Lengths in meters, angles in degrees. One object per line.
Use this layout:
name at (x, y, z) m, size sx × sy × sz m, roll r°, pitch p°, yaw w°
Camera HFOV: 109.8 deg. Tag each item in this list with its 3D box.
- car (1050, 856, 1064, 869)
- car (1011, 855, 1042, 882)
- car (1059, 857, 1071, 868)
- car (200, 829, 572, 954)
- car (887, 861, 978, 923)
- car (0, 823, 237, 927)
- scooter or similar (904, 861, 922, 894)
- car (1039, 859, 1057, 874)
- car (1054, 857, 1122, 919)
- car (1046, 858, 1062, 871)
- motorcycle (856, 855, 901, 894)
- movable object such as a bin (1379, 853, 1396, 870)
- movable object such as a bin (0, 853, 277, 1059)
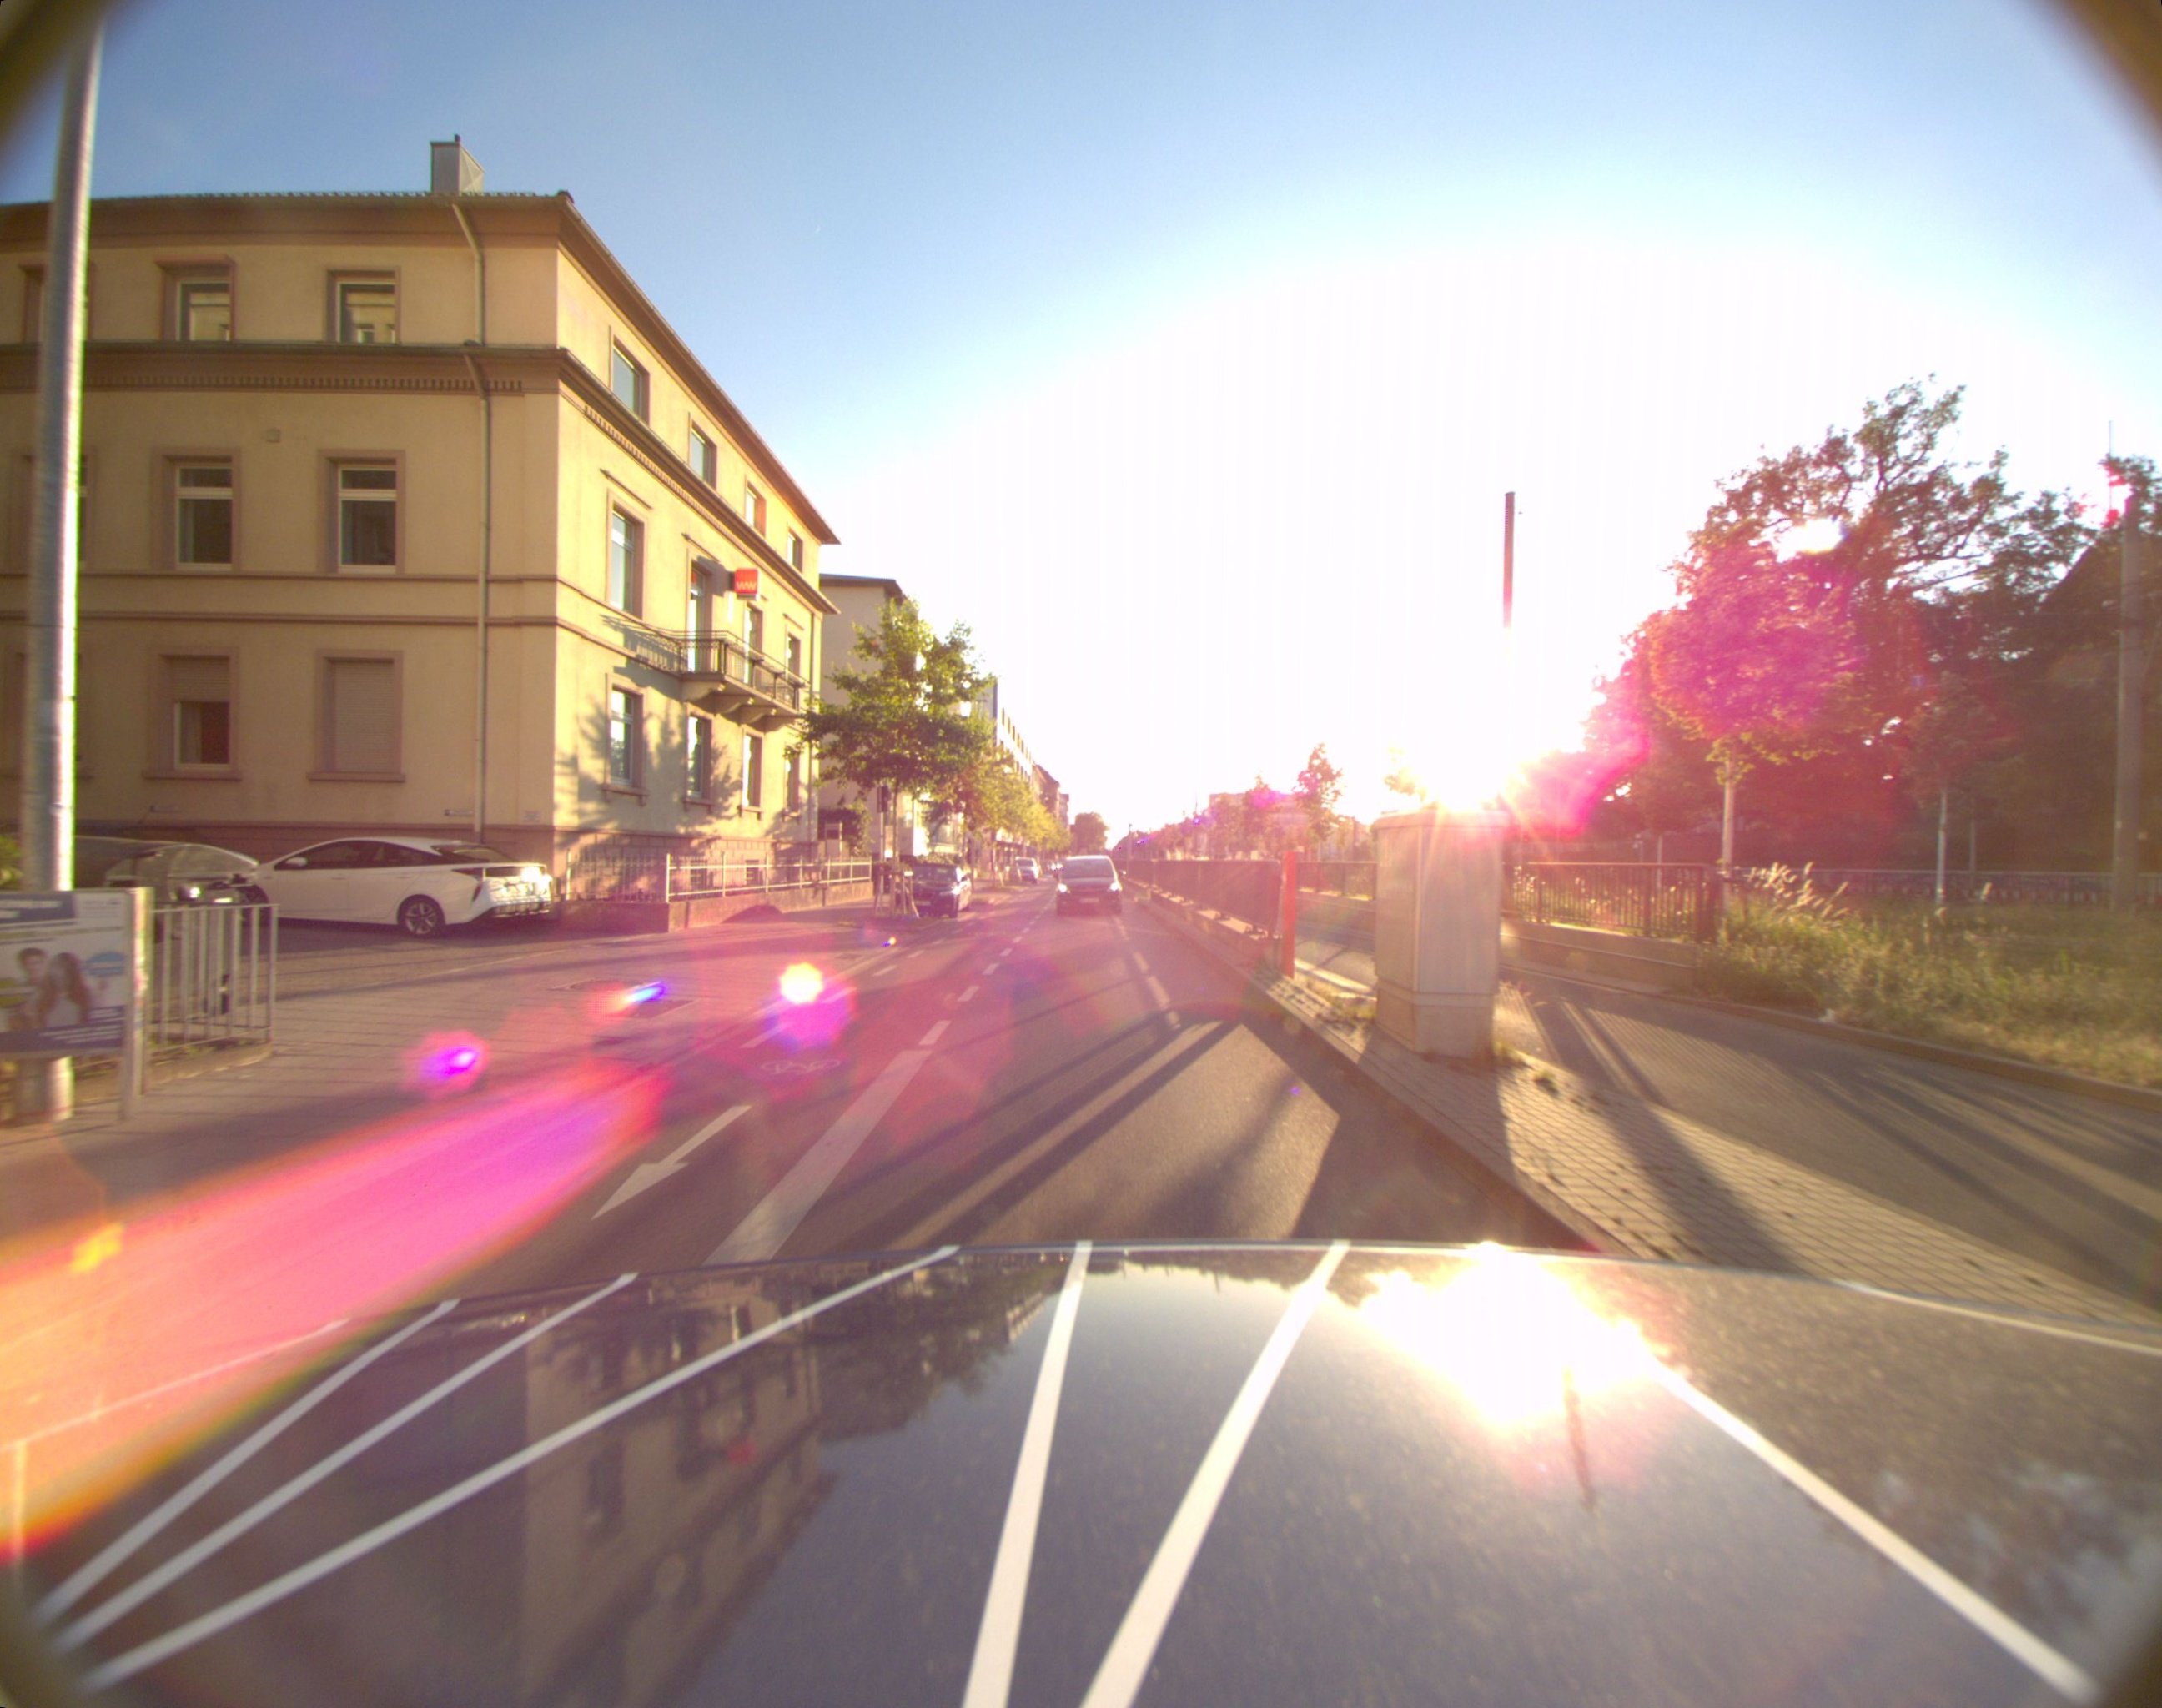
car at (-3.152, 1.156, 100.683) m, size 1.824 × 1.557 × 4.809 m, roll 4°, pitch 0°, yaw -1°
car at (-3.594, 0.954, 50.739) m, size 1.859 × 1.696 × 4.254 m, roll 2°, pitch 0°, yaw -1°
car at (-2.610, 1.346, 123.080) m, size 1.761 × 1.644 × 4.529 m, roll 3°, pitch 0°, yaw 1°
car at (-10.882, 0.546, 12.122) m, size 4.204 × 1.561 × 1.917 m, roll 4°, pitch 0°, yaw 3°
car at (-4.067, 0.979, 21.521) m, size 1.797 × 1.462 × 4.444 m, roll 3°, pitch 0°, yaw -2°
car at (-15.996, 0.289, 12.063) m, size 3.557 × 1.475 × 1.497 m, roll 2°, pitch 0°, yaw 1°
scooter or similar at (-6.620, 0.902, 30.001) m, size 0.492 × 1.251 × 1.208 m, roll -1°, pitch 1°, yaw -3°
car at (-3.456, 1.328, 79.933) m, size 1.824 × 1.446 × 4.127 m, roll 1°, pitch 0°, yaw -3°
car at (0.176, 0.910, 22.378) m, size 1.800 × 1.609 × 4.386 m, roll -1°, pitch 0°, yaw 0°
car at (-3.173, 1.207, 90.402) m, size 1.688 × 1.446 × 4.129 m, roll 1°, pitch 0°, yaw 0°
motorcycle at (-7.602, 0.774, 28.573) m, size 1.500 × 1.404 × 0.626 m, roll 2°, pitch -1°, yaw -3°
movable object such as a bin at (49.441, 1.167, 122.732) m, size 1.996 × 2.690 × 4.004 m, roll 0°, pitch 0°, yaw 14°
movable object such as a bin at (-7.498, 0.720, 5.914) m, size 1.263 × 1.453 × 1.123 m, roll 0°, pitch 0°, yaw -3°
